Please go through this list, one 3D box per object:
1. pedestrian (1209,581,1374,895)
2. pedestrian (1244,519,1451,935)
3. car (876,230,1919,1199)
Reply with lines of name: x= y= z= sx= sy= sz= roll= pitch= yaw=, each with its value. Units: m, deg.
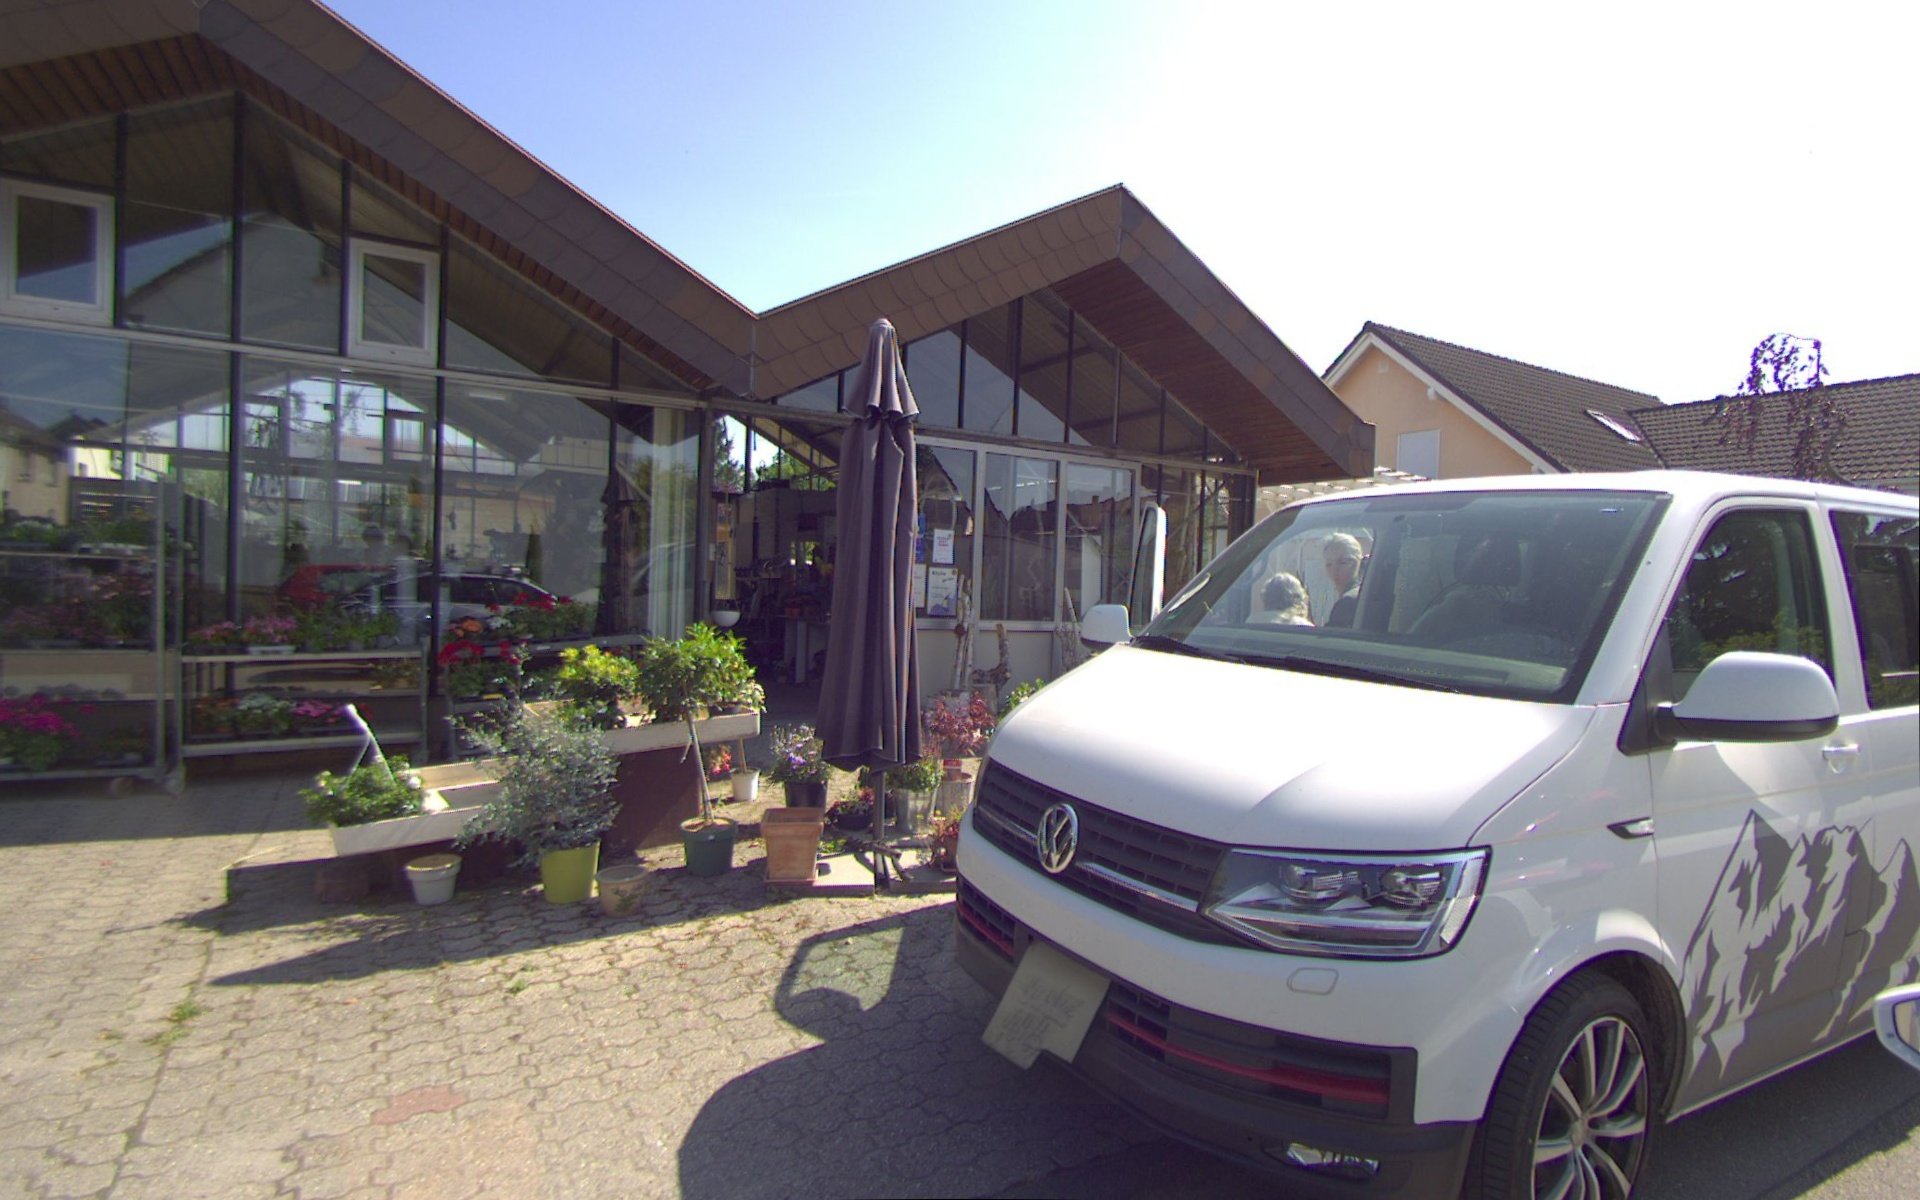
pedestrian: x=1.747 y=0.686 z=5.391 sx=0.629 sy=1.559 sz=0.719 roll=2 pitch=1 yaw=3
pedestrian: x=1.742 y=0.539 z=4.611 sx=0.629 sy=1.754 sz=0.692 roll=1 pitch=1 yaw=1
car: x=2.312 y=0.466 z=3.667 sx=4.836 sy=2.040 sz=1.920 roll=2 pitch=0 yaw=-29
